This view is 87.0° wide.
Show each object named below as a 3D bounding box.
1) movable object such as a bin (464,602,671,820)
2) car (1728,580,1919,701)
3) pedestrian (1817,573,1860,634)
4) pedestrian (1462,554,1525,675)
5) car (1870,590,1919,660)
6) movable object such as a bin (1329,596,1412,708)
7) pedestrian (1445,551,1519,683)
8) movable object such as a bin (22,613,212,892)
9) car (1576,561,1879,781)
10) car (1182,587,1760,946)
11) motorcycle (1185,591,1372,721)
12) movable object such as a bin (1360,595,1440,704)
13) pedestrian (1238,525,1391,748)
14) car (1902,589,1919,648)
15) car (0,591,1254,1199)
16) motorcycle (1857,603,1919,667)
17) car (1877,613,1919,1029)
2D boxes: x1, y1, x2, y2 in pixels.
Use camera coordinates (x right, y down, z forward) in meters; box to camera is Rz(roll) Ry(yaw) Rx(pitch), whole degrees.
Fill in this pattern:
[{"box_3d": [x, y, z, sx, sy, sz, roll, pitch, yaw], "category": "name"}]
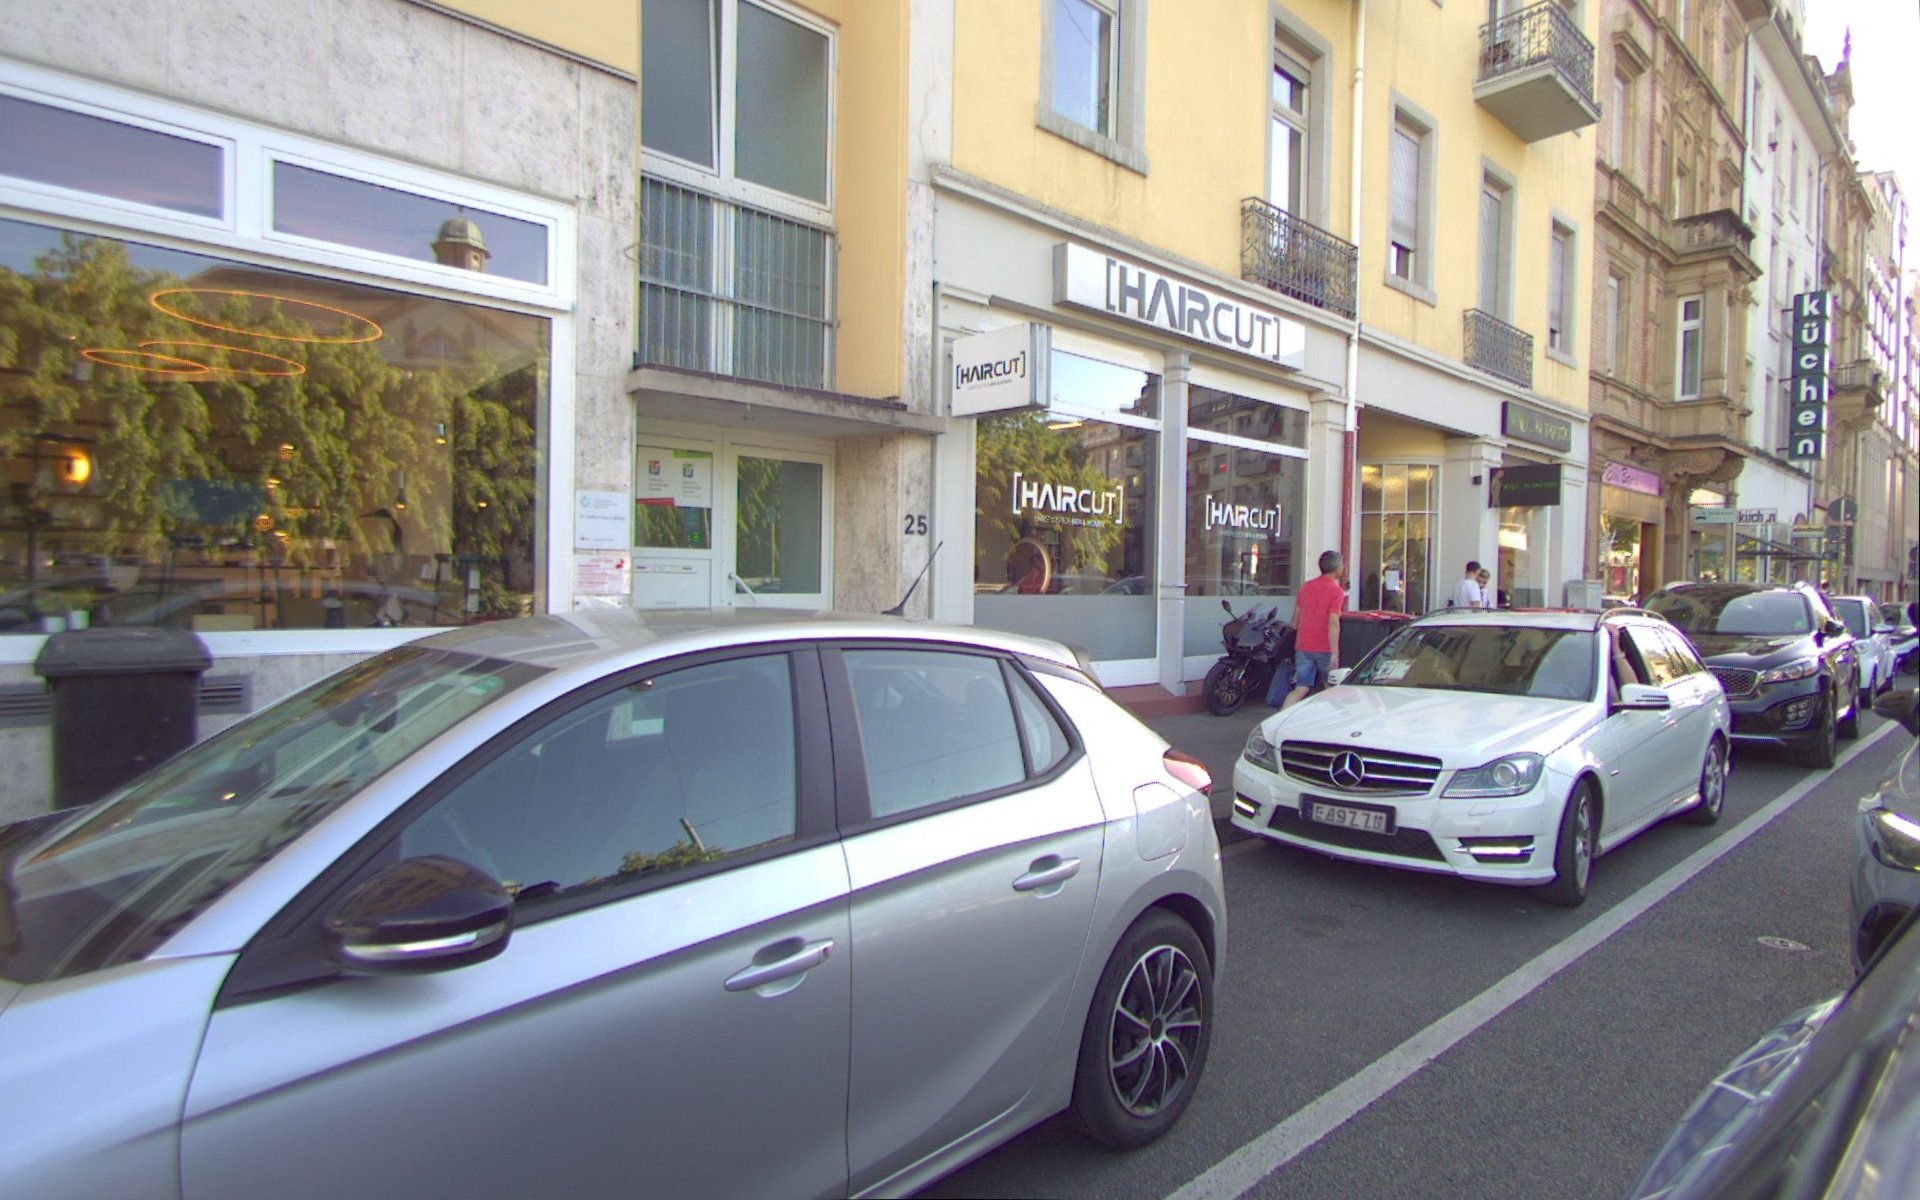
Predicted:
[{"box_3d": [-2.179, 0.555, 5.624, 0.878, 1.066, 0.752, 0, 1, -40], "category": "movable object such as a bin"}, {"box_3d": [12.800, 0.514, 14.967, 2.965, 1.587, 1.695, 0, 1, -40], "category": "car"}, {"box_3d": [23.980, 0.093, 27.626, 0.750, 1.637, 0.794, 0, 1, -43], "category": "pedestrian"}, {"box_3d": [7.416, 0.192, 14.064, 0.631, 1.637, 0.572, 0, 0, -40], "category": "pedestrian"}, {"box_3d": [22.219, 0.528, 23.126, 3.931, 1.504, 1.713, 0, 1, -42], "category": "car"}, {"box_3d": [4.675, 0.569, 11.530, 0.633, 1.222, 0.647, 0, 0, -40], "category": "movable object such as a bin"}, {"box_3d": [6.721, 0.202, 13.031, 0.689, 1.637, 0.641, 0, 0, -42], "category": "pedestrian"}, {"box_3d": [-3.663, 0.597, 4.417, 0.591, 1.041, 0.812, 0, 1, -40], "category": "movable object such as a bin"}, {"box_3d": [7.903, 0.529, 10.226, 1.853, 1.719, 4.623, 1, 1, 45], "category": "car"}, {"box_3d": [3.473, 0.676, 6.391, 4.519, 1.480, 1.757, 0, 1, -42], "category": "car"}, {"box_3d": [3.359, 0.520, 10.557, 2.208, 1.179, 0.773, 0, 4, -41], "category": "motorcycle"}, {"box_3d": [5.185, 0.562, 11.919, 0.633, 1.222, 0.647, 0, 0, -40], "category": "movable object such as a bin"}, {"box_3d": [3.124, 0.269, 8.915, 0.864, 1.805, 0.993, 5, 5, 42], "category": "pedestrian"}, {"box_3d": [26.441, 0.476, 26.889, 3.931, 1.504, 1.713, 0, 1, -42], "category": "car"}, {"box_3d": [-1.009, 0.698, 2.366, 3.644, 1.415, 1.651, 0, 1, -43], "category": "car"}, {"box_3d": [19.327, 0.704, 20.547, 1.514, 1.248, 0.771, 1, 0, 1], "category": "motorcycle"}, {"box_3d": [5.364, 0.764, 4.259, 4.183, 1.396, 1.846, 0, 1, -42], "category": "car"}]
